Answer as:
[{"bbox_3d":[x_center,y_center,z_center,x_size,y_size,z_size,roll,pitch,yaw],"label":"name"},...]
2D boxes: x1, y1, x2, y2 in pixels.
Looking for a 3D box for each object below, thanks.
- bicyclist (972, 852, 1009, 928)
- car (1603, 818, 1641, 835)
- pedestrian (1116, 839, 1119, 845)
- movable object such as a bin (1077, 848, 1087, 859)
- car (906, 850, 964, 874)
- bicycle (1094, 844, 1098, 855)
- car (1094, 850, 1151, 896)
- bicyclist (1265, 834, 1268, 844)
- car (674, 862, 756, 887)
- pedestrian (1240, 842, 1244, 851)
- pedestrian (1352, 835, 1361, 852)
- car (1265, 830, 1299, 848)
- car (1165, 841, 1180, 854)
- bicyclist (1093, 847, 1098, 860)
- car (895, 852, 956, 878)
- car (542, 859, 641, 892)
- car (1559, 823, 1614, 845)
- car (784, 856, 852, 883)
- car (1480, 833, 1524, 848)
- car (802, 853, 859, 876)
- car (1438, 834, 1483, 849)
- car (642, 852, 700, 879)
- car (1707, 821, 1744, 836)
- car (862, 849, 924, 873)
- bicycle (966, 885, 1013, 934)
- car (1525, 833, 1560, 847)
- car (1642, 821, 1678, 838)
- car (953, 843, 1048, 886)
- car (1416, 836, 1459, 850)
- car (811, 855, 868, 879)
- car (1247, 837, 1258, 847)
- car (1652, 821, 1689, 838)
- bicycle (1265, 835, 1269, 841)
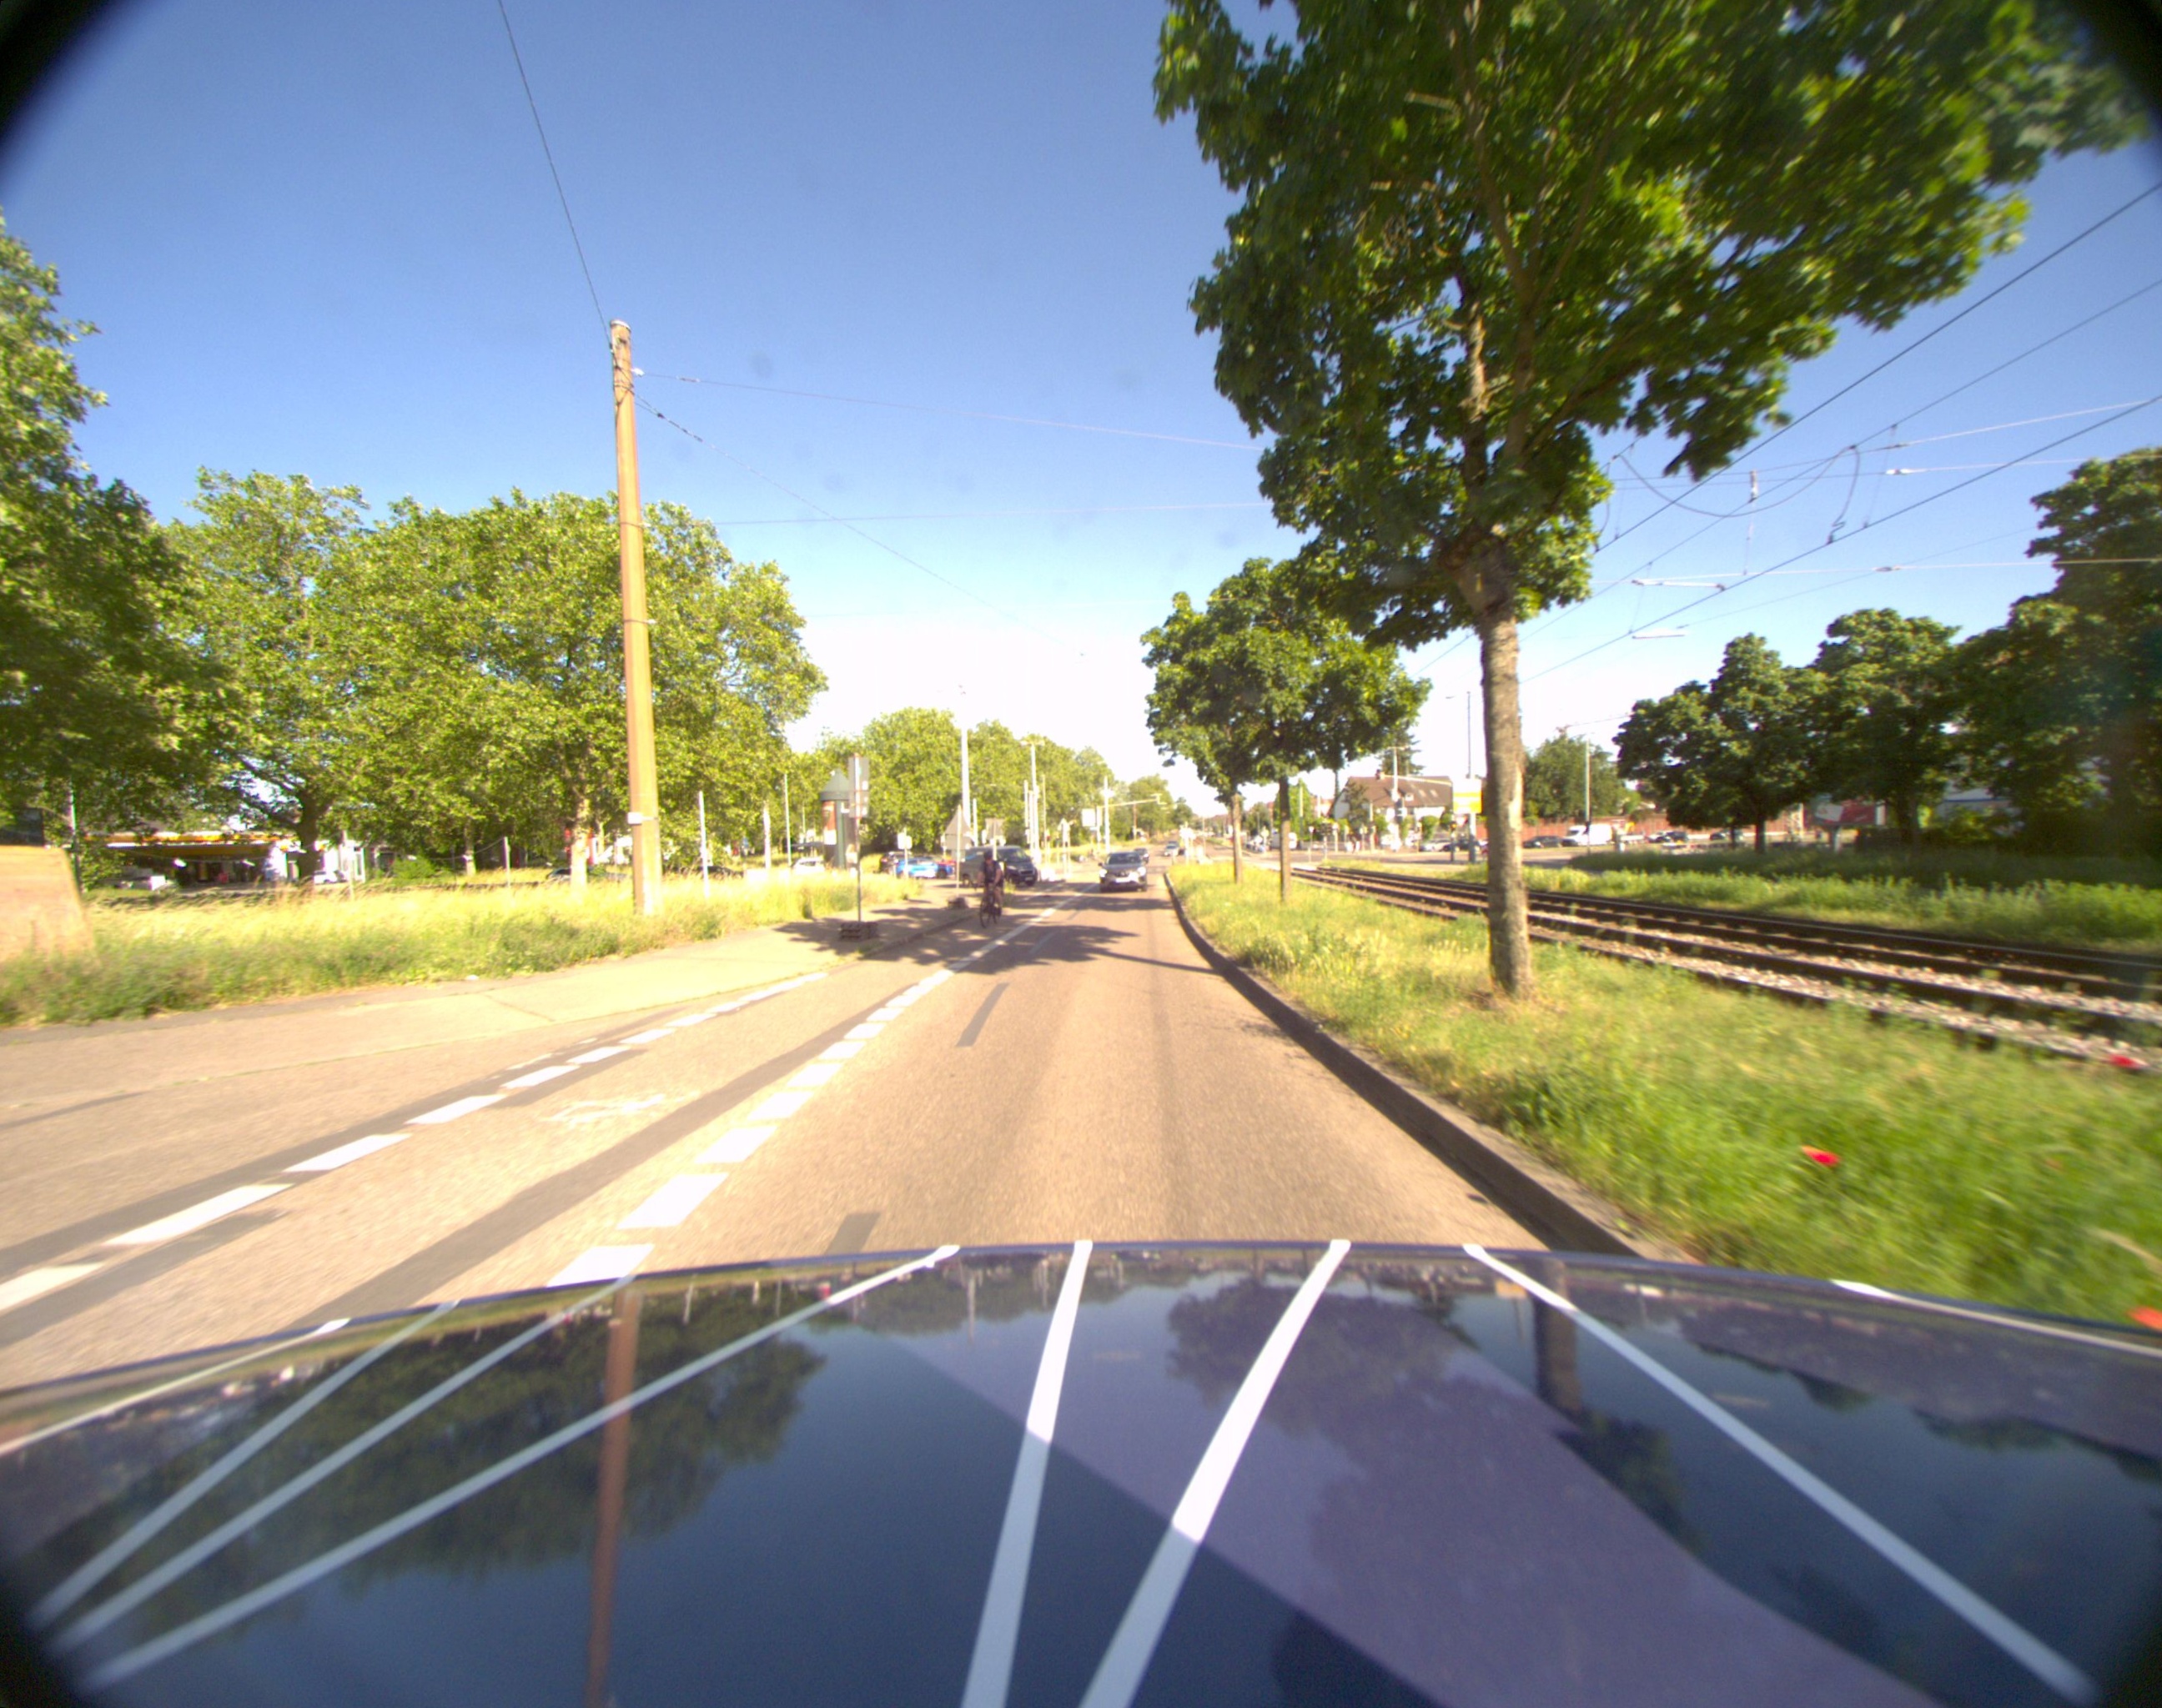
[{"bbox_3d":[-2.084,0.813,17.571,0.616,1.670,0.933,-1,2,7],"label":"bicyclist"},{"bbox_3d":[64.227,-3.257,90.219,4.003,2.002,1.805,-2,2,-20],"label":"car"},{"bbox_3d":[7.325,-2.400,151.046,0.482,1.027,0.454,-1,2,8],"label":"pedestrian"},{"bbox_3d":[0.110,-0.032,78.758,0.911,1.062,1.316,-1,2,3],"label":"movable object such as a bin"},{"bbox_3d":[-11.025,0.588,57.463,4.092,1.591,1.814,-2,1,-17],"label":"car"},{"bbox_3d":[1.608,-0.476,81.307,0.468,1.112,1.820,-2,2,2],"label":"bicycle"},{"bbox_3d":[1.678,0.695,29.423,1.838,1.542,3.817,-1,2,8],"label":"car"},{"bbox_3d":[32.686,-2.653,133.702,0.490,1.599,0.648,-1,2,7],"label":"bicyclist"},{"bbox_3d":[-23.800,1.311,49.584,4.574,1.400,1.931,-2,1,-21],"label":"car"},{"bbox_3d":[25.608,-1.225,120.847,0.623,1.406,0.711,-2,1,6],"label":"pedestrian"},{"bbox_3d":[31.287,-1.211,86.256,0.612,1.937,0.774,-3,2,-36],"label":"pedestrian"},{"bbox_3d":[28.797,-2.157,109.097,2.348,2.444,6.865,-2,2,-6],"label":"car"},{"bbox_3d":[11.699,-0.836,97.358,1.880,1.519,4.422,-1,2,7],"label":"car"},{"bbox_3d":[1.566,-0.048,80.740,0.511,1.333,0.565,-1,2,1],"label":"bicyclist"},{"bbox_3d":[-10.880,0.748,53.072,3.864,1.591,1.710,-2,1,-22],"label":"car"},{"bbox_3d":[-30.479,1.313,47.490,4.780,1.673,1.905,-3,3,-19],"label":"car"},{"bbox_3d":[58.595,-2.349,88.073,5.926,2.397,2.177,-2,2,-18],"label":"car"},{"bbox_3d":[-17.646,1.012,51.080,4.179,1.669,1.931,-2,1,-21],"label":"car"},{"bbox_3d":[46.808,-1.501,84.465,4.262,1.458,1.935,-2,1,-20],"label":"car"},{"bbox_3d":[-19.094,0.766,57.853,4.003,1.608,1.997,-2,1,-20],"label":"car"},{"bbox_3d":[41.431,-1.370,82.962,4.252,1.458,1.934,-2,2,-20],"label":"car"},{"bbox_3d":[-27.732,0.749,51.432,3.212,1.608,1.369,-2,5,-21],"label":"car"},{"bbox_3d":[80.529,-3.199,94.945,4.004,1.732,1.805,-2,1,-21],"label":"car"},{"bbox_3d":[-14.745,0.541,59.589,4.499,1.702,1.917,-2,2,-20],"label":"car"},{"bbox_3d":[-2.066,1.236,17.353,0.525,0.918,2.090,-1,2,8],"label":"bicycle"},{"bbox_3d":[52.188,-1.589,85.906,3.530,1.559,1.495,-2,1,-18],"label":"car"},{"bbox_3d":[73.796,-3.101,96.893,4.004,2.002,1.804,-2,2,-21],"label":"car"},{"bbox_3d":[-4.294,0.503,40.075,5.104,2.059,2.135,0,2,43],"label":"car"},{"bbox_3d":[40.297,-1.245,85.849,4.640,1.469,1.669,-2,2,-20],"label":"car"},{"bbox_3d":[-17.546,0.953,55.285,3.862,1.591,1.710,-2,1,-17],"label":"car"},{"bbox_3d":[29.956,-2.078,132.823,1.794,1.678,4.004,-1,2,13],"label":"car"},{"bbox_3d":[72.094,-3.009,92.935,4.004,2.002,1.804,-2,2,-21],"label":"car"},{"bbox_3d":[32.684,-2.877,133.762,0.508,1.036,1.949,-1,2,7],"label":"bicycle"}]
